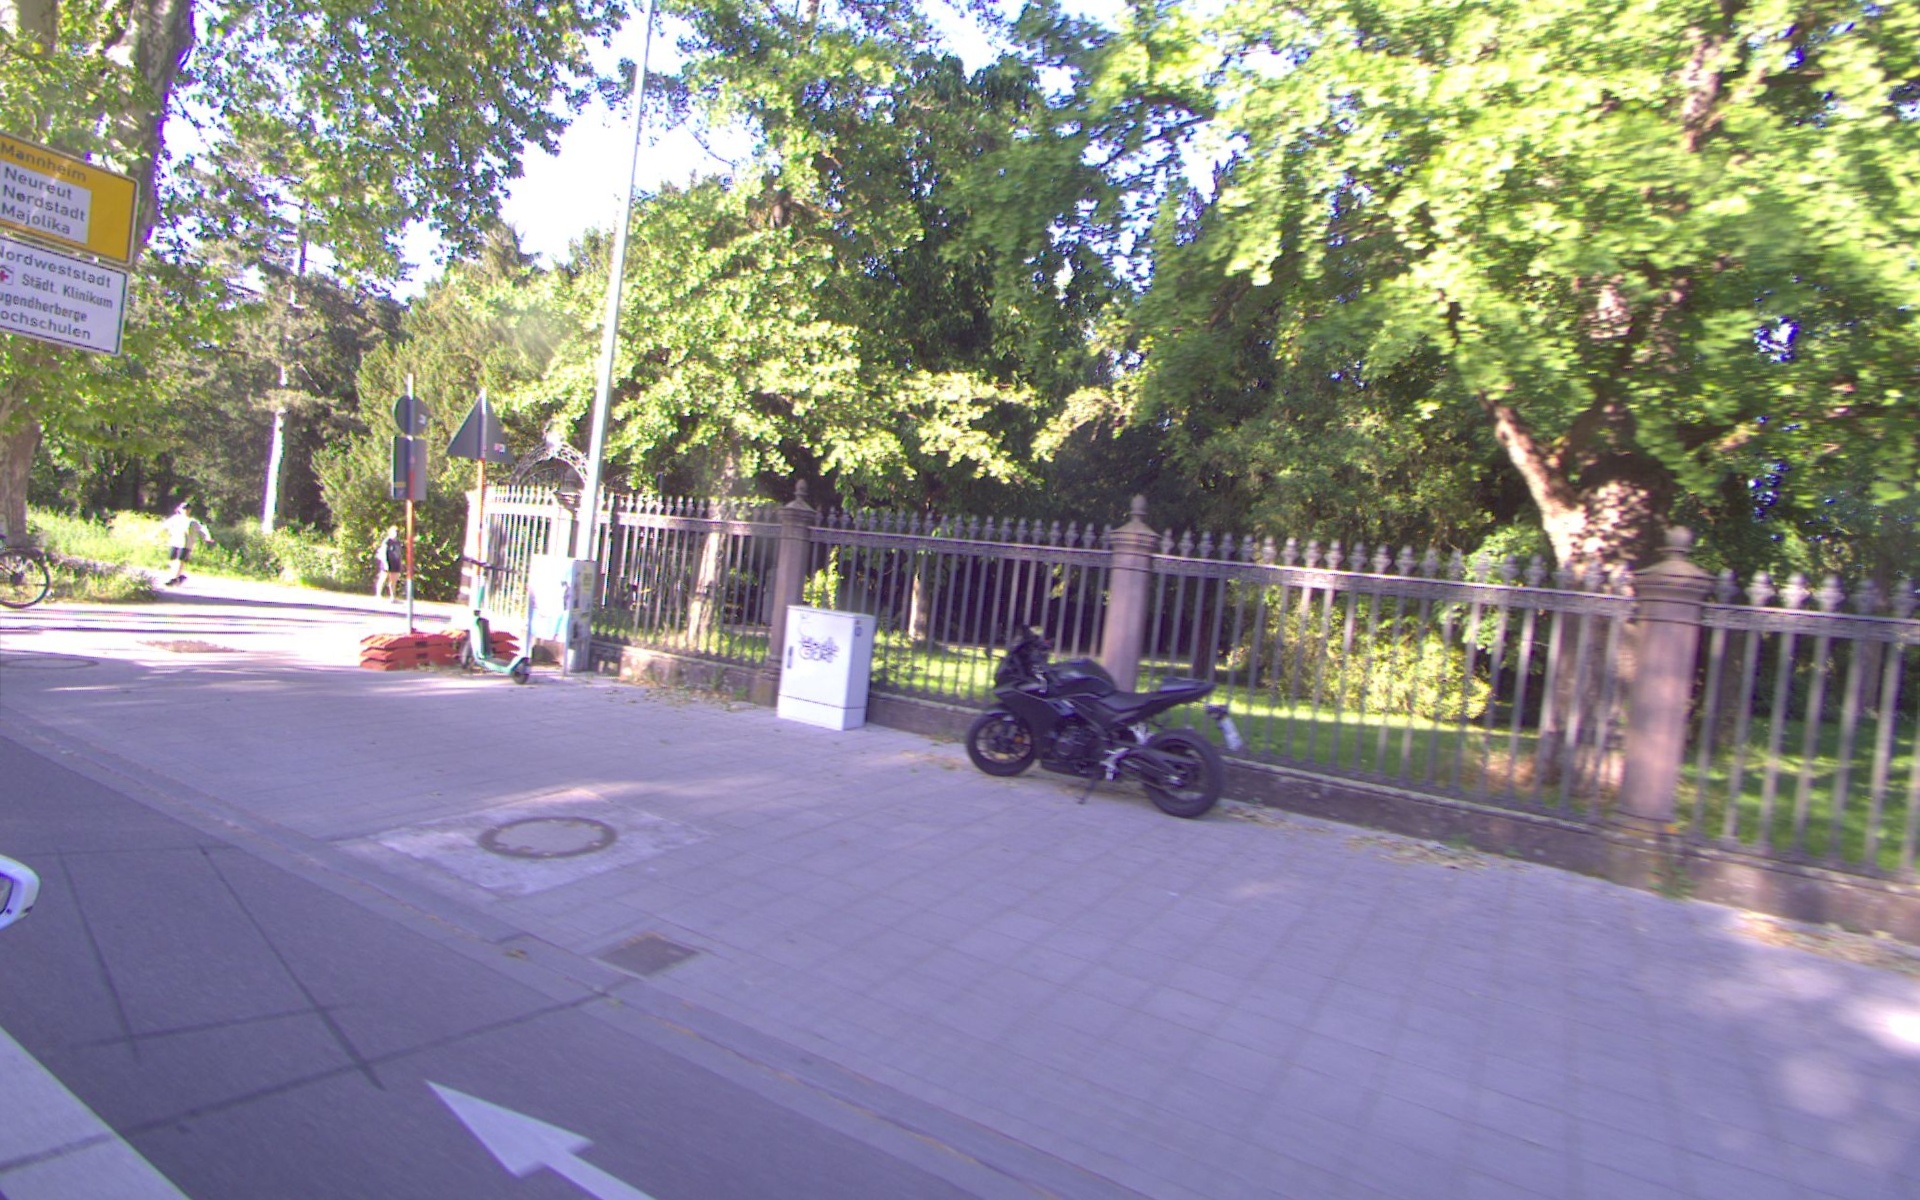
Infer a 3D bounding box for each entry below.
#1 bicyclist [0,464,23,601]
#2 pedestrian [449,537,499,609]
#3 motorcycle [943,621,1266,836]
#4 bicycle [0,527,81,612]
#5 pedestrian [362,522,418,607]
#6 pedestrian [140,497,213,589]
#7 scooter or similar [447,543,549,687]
[{"bbox_3d":[-11.942,-0.852,11.971,0.722,1.634,0.849,7,2,20],"label":"bicyclist"},{"bbox_3d":[-12.157,-0.674,25.169,0.823,1.702,0.685,6,0,-44],"label":"pedestrian"},{"bbox_3d":[0.966,0.834,7.105,2.134,1.146,0.506,6,2,31],"label":"motorcycle"},{"bbox_3d":[-11.980,-0.406,12.017,0.736,0.988,2.098,7,1,19],"label":"bicycle"},{"bbox_3d":[-12.359,-0.770,21.812,0.633,1.720,0.690,6,0,32],"label":"pedestrian"},{"bbox_3d":[-14.269,-1.026,18.348,0.812,1.536,0.909,7,-1,-31],"label":"pedestrian"},{"bbox_3d":[-4.723,0.138,10.255,1.152,1.344,0.228,7,2,31],"label":"scooter or similar"}]
